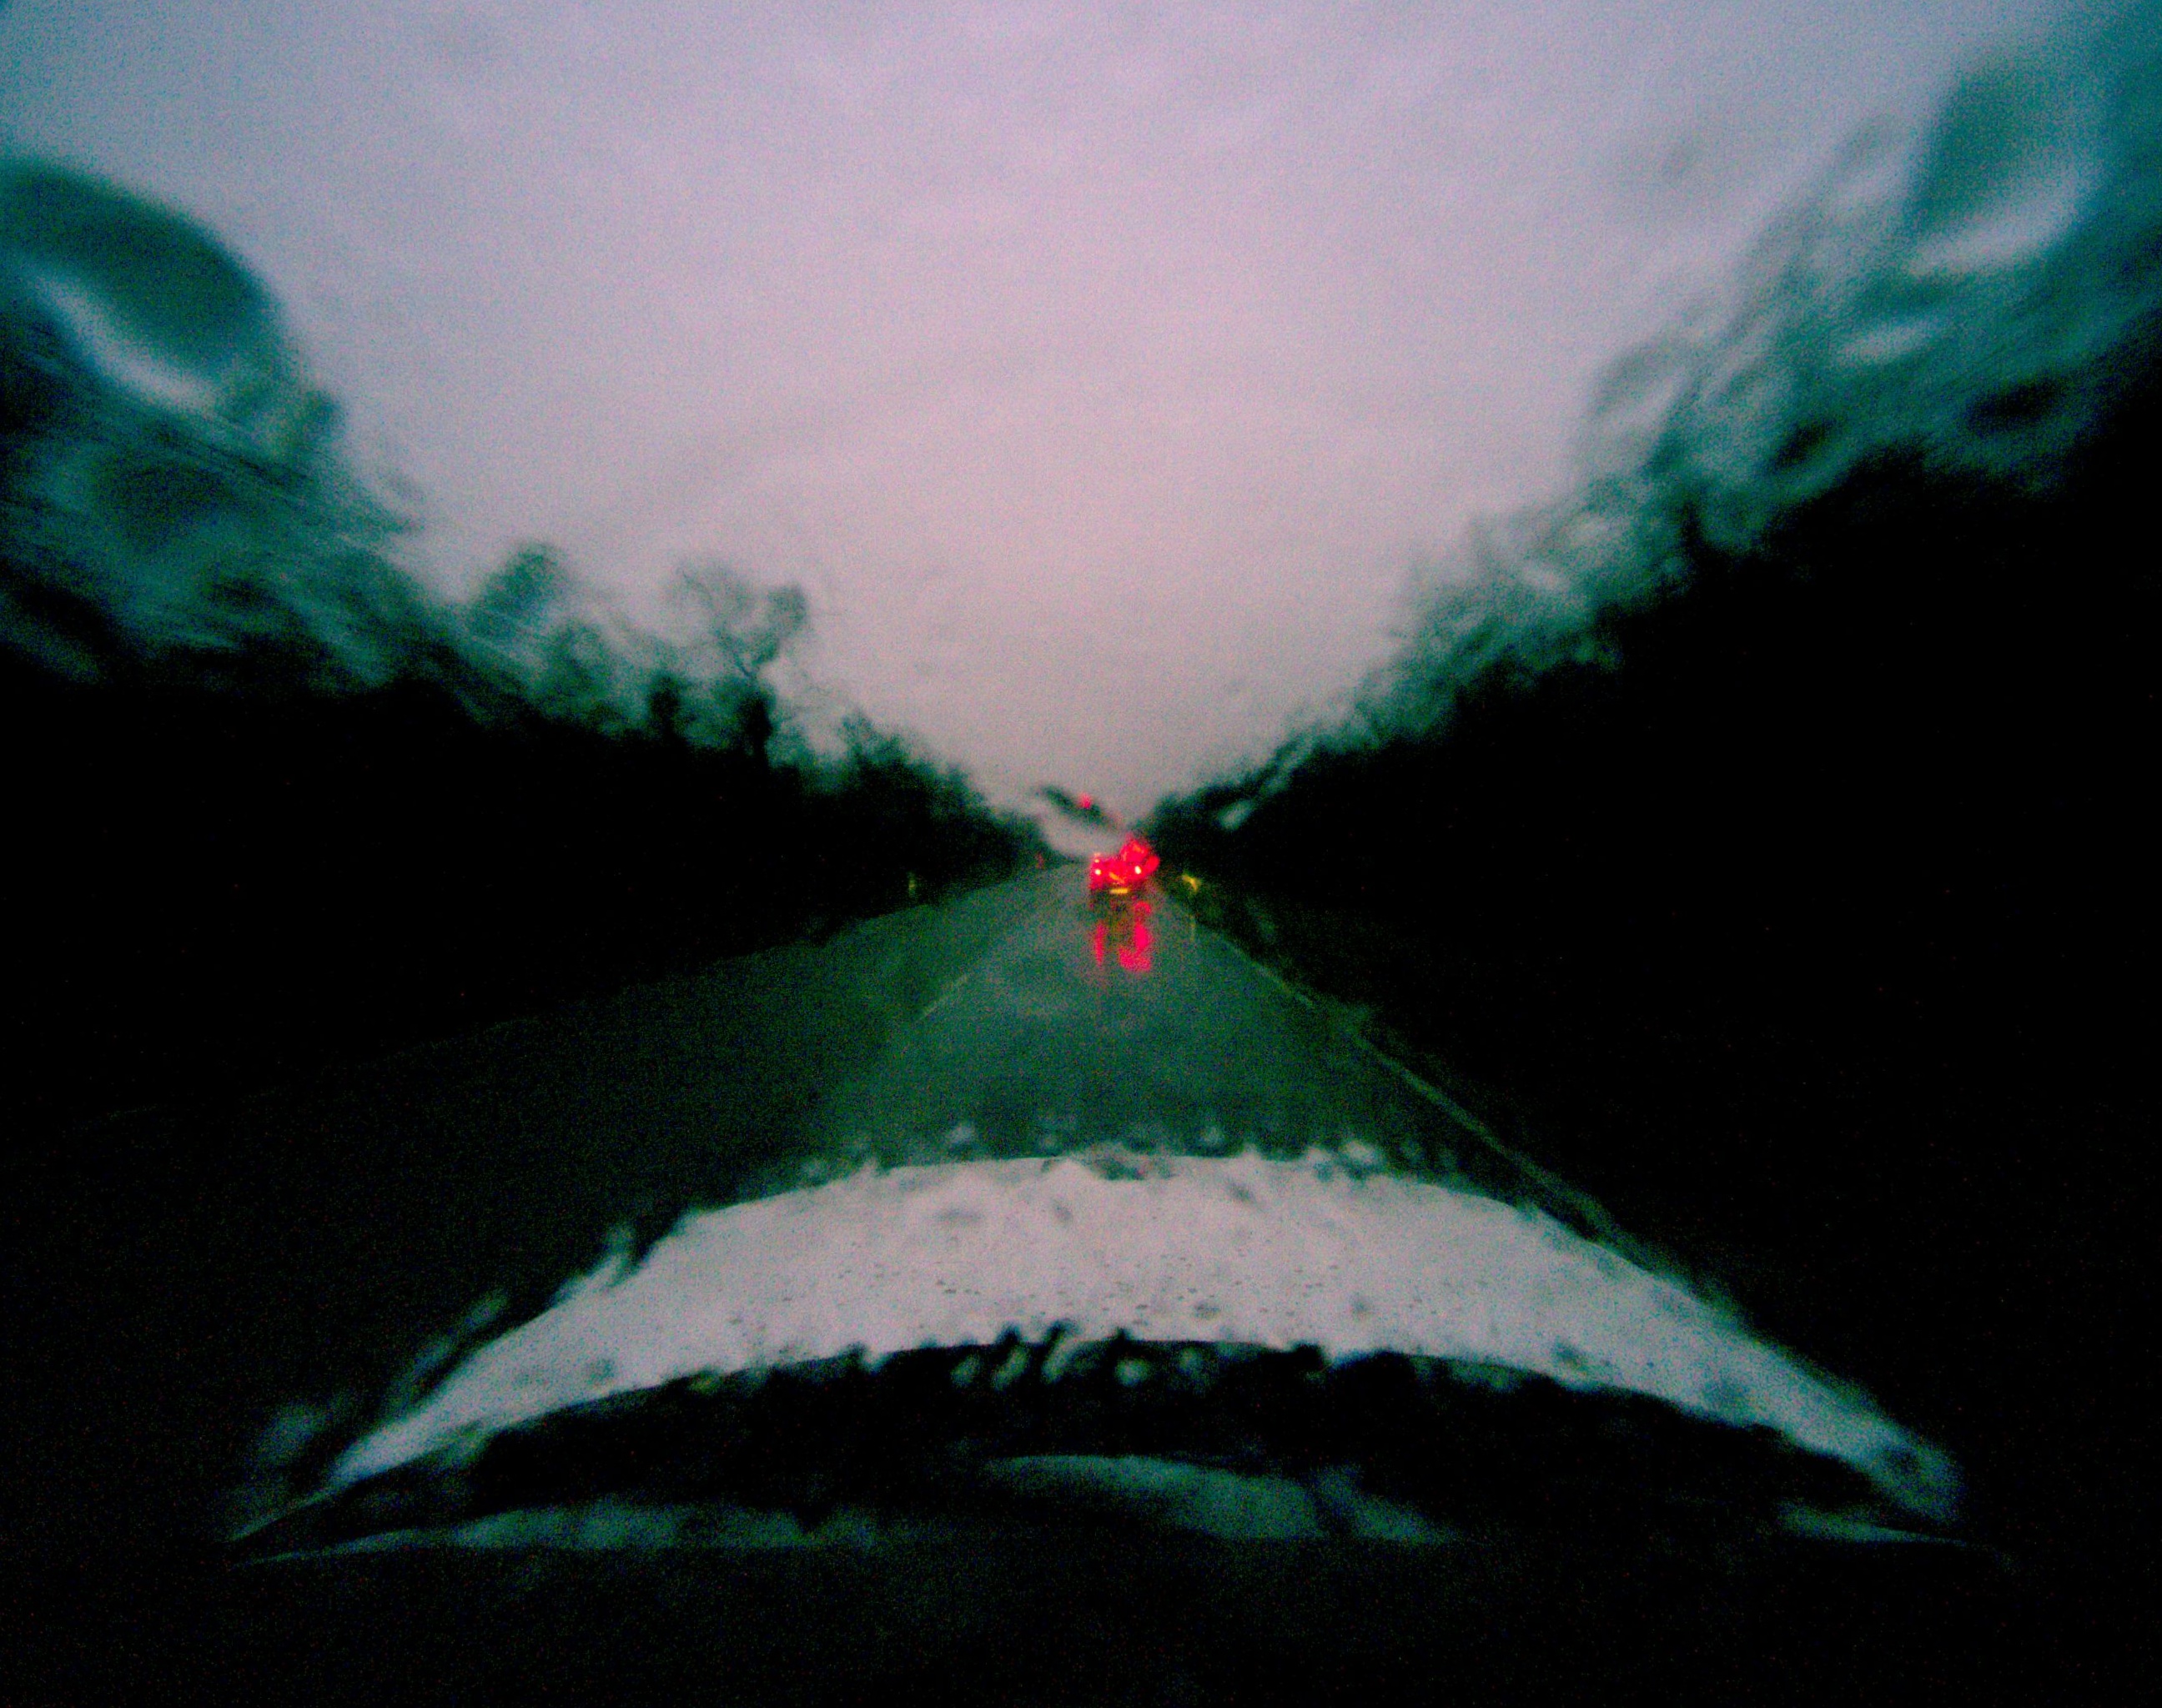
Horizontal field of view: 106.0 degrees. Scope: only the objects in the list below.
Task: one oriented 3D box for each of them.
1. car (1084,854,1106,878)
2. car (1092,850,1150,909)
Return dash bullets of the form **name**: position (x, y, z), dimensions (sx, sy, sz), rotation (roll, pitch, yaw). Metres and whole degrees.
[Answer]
- **car**: position (1.147, 0.938, 65.020), dimensions (1.727, 1.779, 4.001), rotation (0, 0, 1)
- **car**: position (1.202, 0.734, 25.151), dimensions (1.642, 1.672, 3.515), rotation (0, 0, 2)
